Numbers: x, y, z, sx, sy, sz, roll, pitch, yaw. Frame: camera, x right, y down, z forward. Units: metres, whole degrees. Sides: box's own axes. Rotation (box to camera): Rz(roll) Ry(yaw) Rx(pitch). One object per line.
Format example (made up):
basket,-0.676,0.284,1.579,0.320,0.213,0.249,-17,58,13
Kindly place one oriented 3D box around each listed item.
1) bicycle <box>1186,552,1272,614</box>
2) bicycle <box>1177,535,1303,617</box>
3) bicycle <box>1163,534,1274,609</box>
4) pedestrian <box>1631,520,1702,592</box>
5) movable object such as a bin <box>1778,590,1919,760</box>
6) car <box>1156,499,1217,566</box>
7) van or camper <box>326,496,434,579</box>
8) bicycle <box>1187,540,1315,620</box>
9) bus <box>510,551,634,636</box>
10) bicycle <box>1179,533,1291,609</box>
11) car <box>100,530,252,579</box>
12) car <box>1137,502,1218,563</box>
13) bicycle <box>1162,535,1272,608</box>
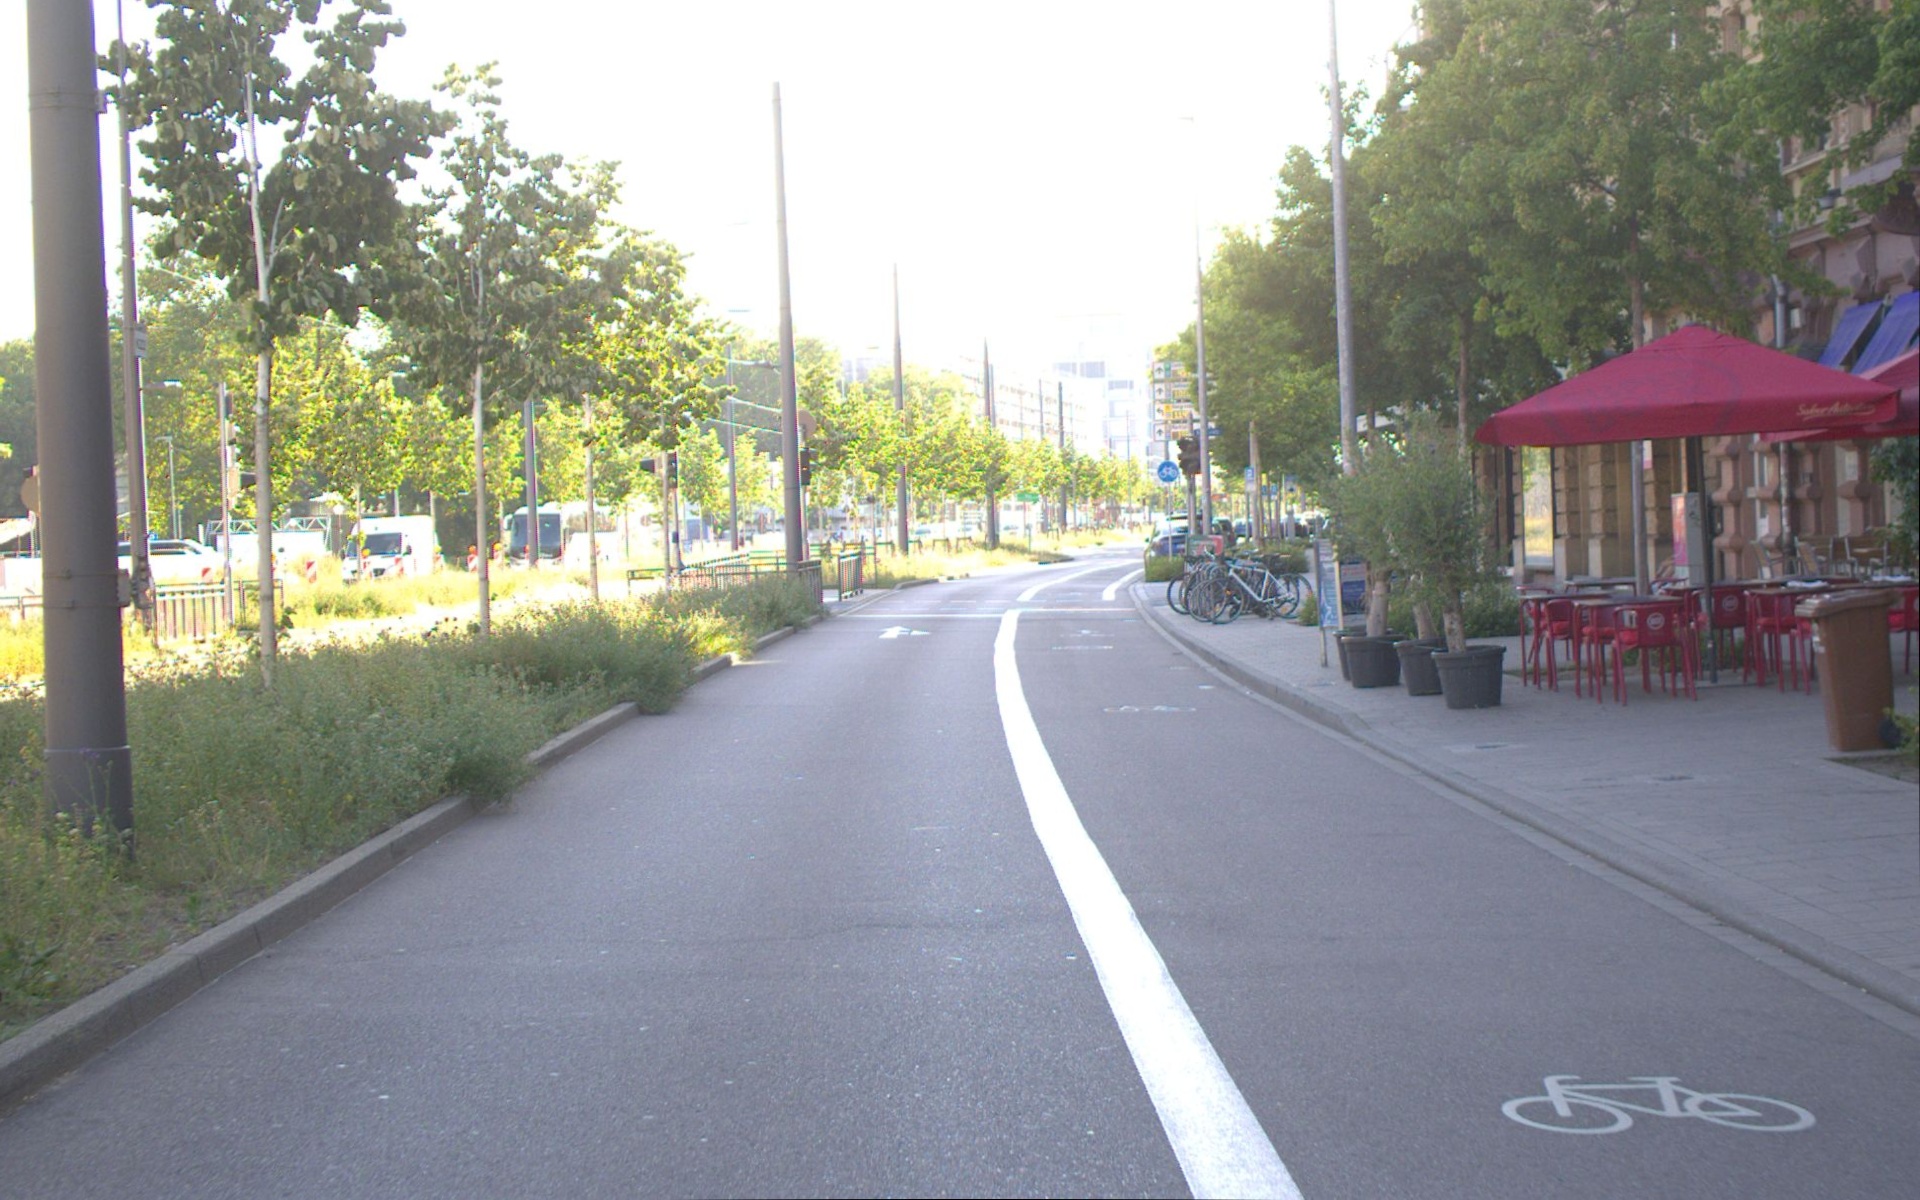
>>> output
bicycle,4.253,-0.264,54.314,1.275,0.874,0.507,-4,1,6
bicycle,4.292,-0.368,52.659,1.844,1.100,0.566,-4,1,6
bicycle,4.294,-0.475,57.037,1.754,1.100,0.507,-4,1,6
pedestrian,9.849,-0.619,47.947,0.813,0.959,0.804,-2,1,2
movable object such as a bin,5.177,0.433,20.018,0.676,0.921,0.560,-5,0,20
car,7.007,-2.113,106.357,1.735,1.912,4.393,-4,1,4
van or camper,-18.975,-2.098,112.827,2.221,2.501,7.202,-4,2,0
bicycle,4.332,-0.294,51.148,1.805,1.044,0.566,-4,1,6
bus,-17.975,-0.386,160.141,2.800,3.582,12.696,-2,1,7
bicycle,4.458,-0.469,55.753,1.722,1.100,0.507,-4,1,6
car,-29.949,-1.749,131.450,5.227,1.711,2.125,-2,1,6
car,6.224,-1.942,98.776,1.931,1.593,4.699,-4,1,0
bicycle,4.318,-0.480,57.628,1.754,1.100,0.507,-4,1,6
